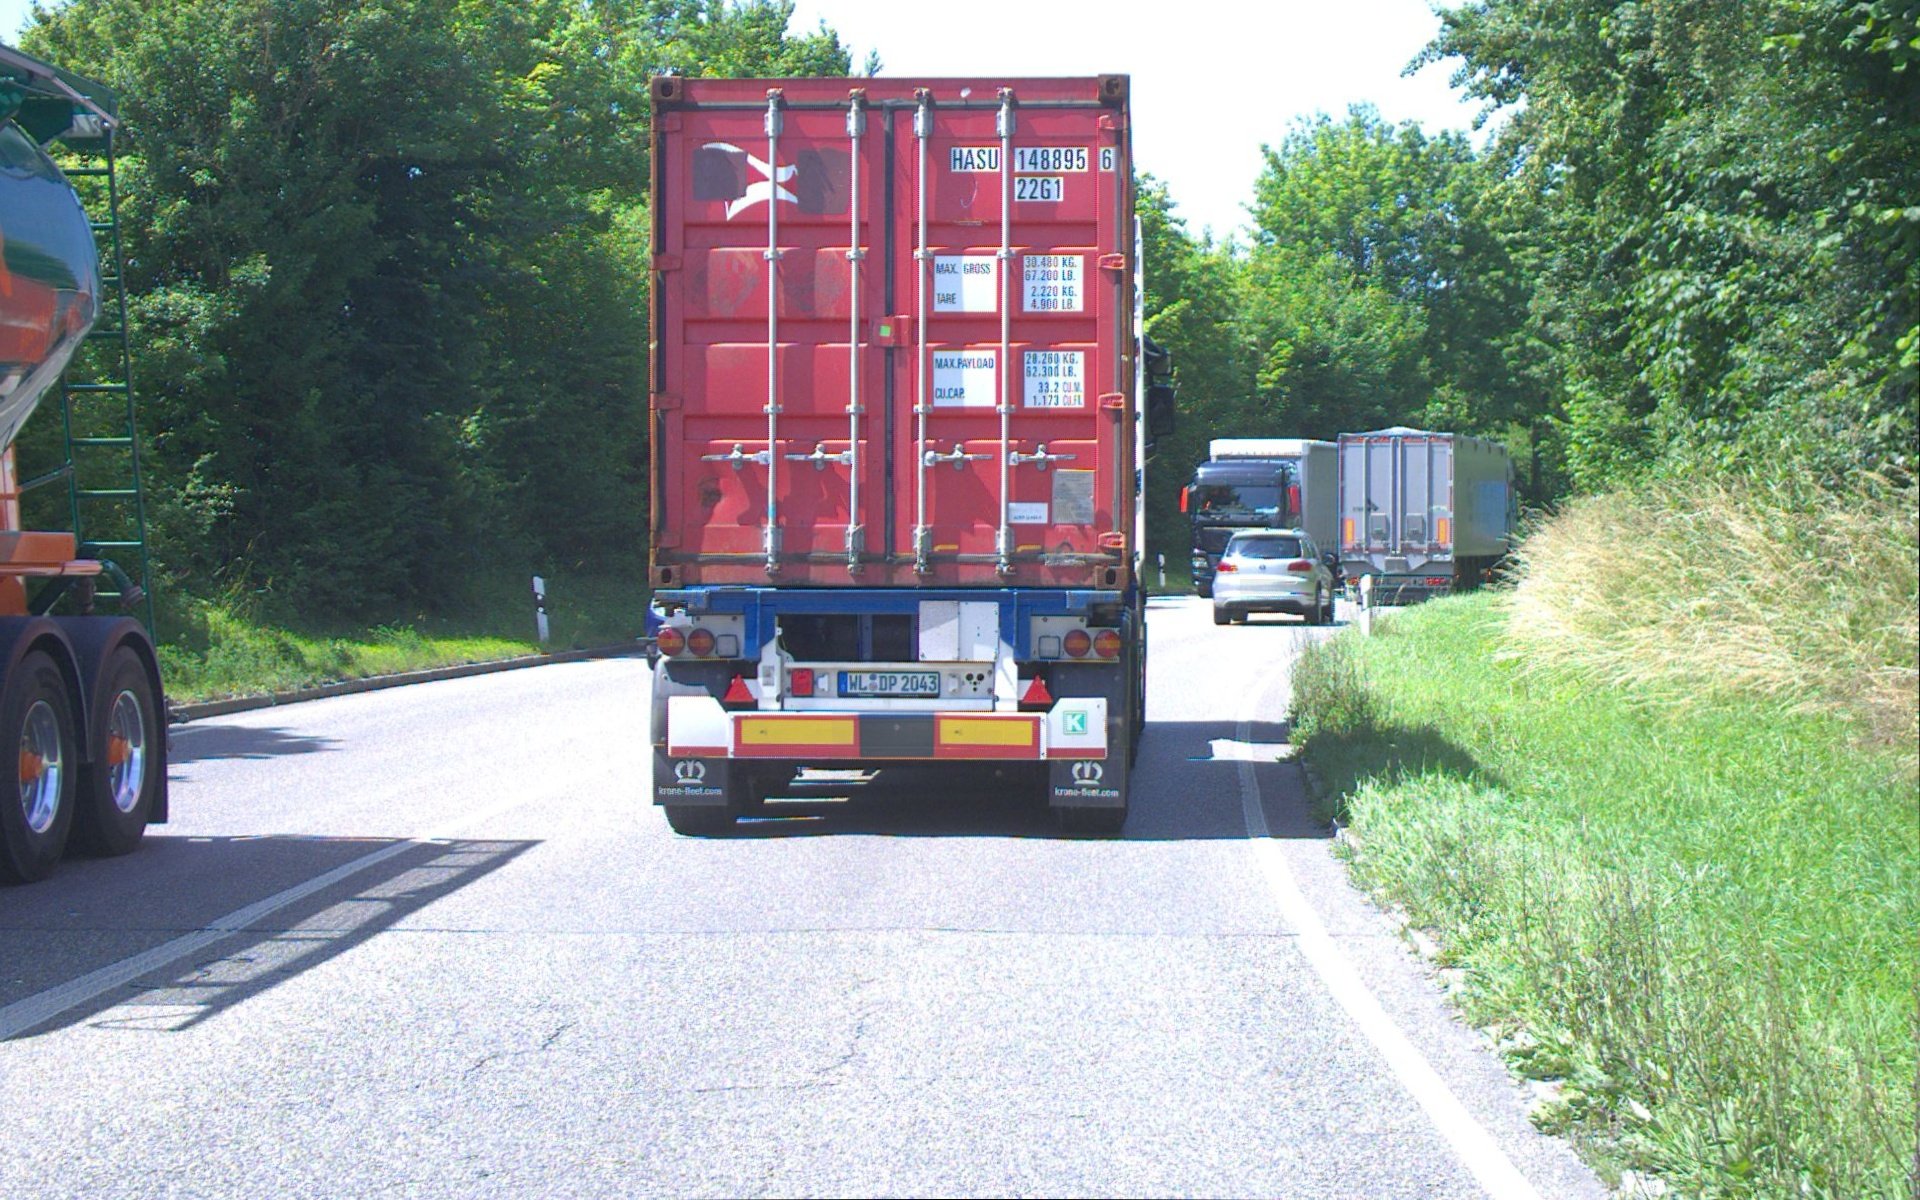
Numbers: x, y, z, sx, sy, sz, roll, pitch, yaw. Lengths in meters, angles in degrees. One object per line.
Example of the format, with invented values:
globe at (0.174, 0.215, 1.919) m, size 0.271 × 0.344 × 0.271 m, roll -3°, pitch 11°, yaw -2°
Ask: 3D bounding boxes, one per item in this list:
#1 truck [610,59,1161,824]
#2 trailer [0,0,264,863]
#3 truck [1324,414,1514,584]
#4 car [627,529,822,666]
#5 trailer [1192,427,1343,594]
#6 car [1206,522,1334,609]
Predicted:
truck at (0.010, -0.882, 23.811) m, size 2.648 × 3.793 × 13.358 m, roll 1°, pitch 1°, yaw 4°
trailer at (-5.408, -0.778, 14.724) m, size 2.578 × 3.806 × 8.914 m, roll 0°, pitch 1°, yaw 3°
truck at (11.127, -2.362, 82.107) m, size 2.923 × 3.704 × 13.351 m, roll -1°, pitch 1°, yaw 14°
car at (-2.733, -0.071, 40.682) m, size 1.684 × 1.524 × 4.069 m, roll 1°, pitch 1°, yaw 5°
trailer at (8.321, -2.311, 91.721) m, size 2.923 × 4.168 × 11.259 m, roll 1°, pitch 1°, yaw 10°
car at (5.506, -0.605, 60.676) m, size 1.833 × 1.428 × 3.998 m, roll -1°, pitch 0°, yaw 11°
